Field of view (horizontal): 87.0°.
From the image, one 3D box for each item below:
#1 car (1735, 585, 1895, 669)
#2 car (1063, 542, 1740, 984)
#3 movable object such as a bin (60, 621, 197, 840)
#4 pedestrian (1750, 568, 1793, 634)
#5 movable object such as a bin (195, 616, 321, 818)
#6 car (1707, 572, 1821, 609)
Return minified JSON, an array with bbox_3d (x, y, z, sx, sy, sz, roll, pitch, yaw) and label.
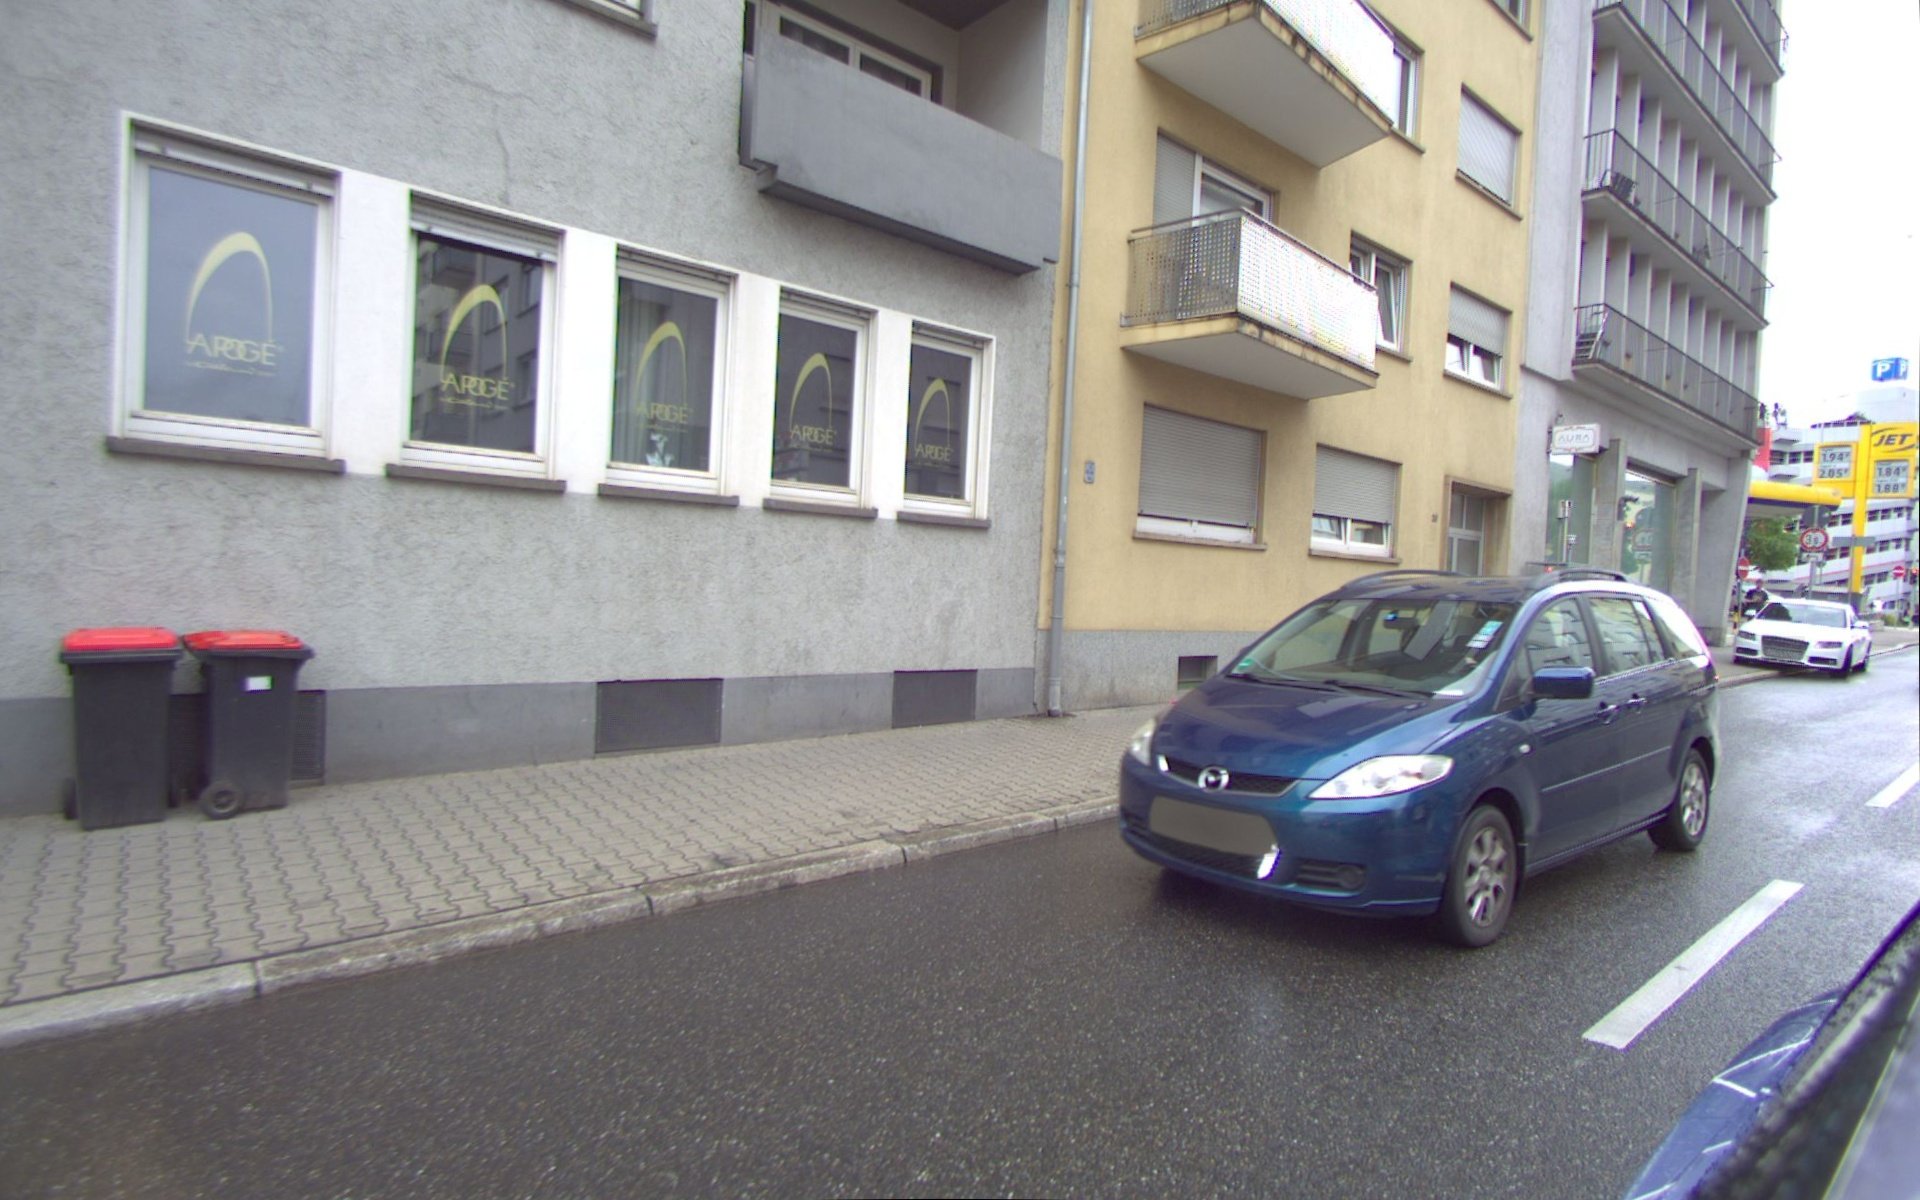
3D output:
[{"bbox_3d":[17.454,0.488,20.603,4.093,1.453,1.803,0,3,-41],"label":"car"},{"bbox_3d":[2.700,0.585,5.738,4.135,1.626,1.812,0,1,-39],"label":"car"},{"bbox_3d":[-4.181,0.620,5.101,0.506,0.967,0.541,0,4,-40],"label":"movable object such as a bin"},{"bbox_3d":[22.362,0.015,27.878,0.872,1.777,0.679,0,2,-39],"label":"pedestrian"},{"bbox_3d":[-3.783,0.594,5.448,0.506,0.961,0.541,0,4,-40],"label":"movable object such as a bin"},{"bbox_3d":[33.844,-0.382,42.740,1.740,1.493,3.997,0,0,3],"label":"car"}]
